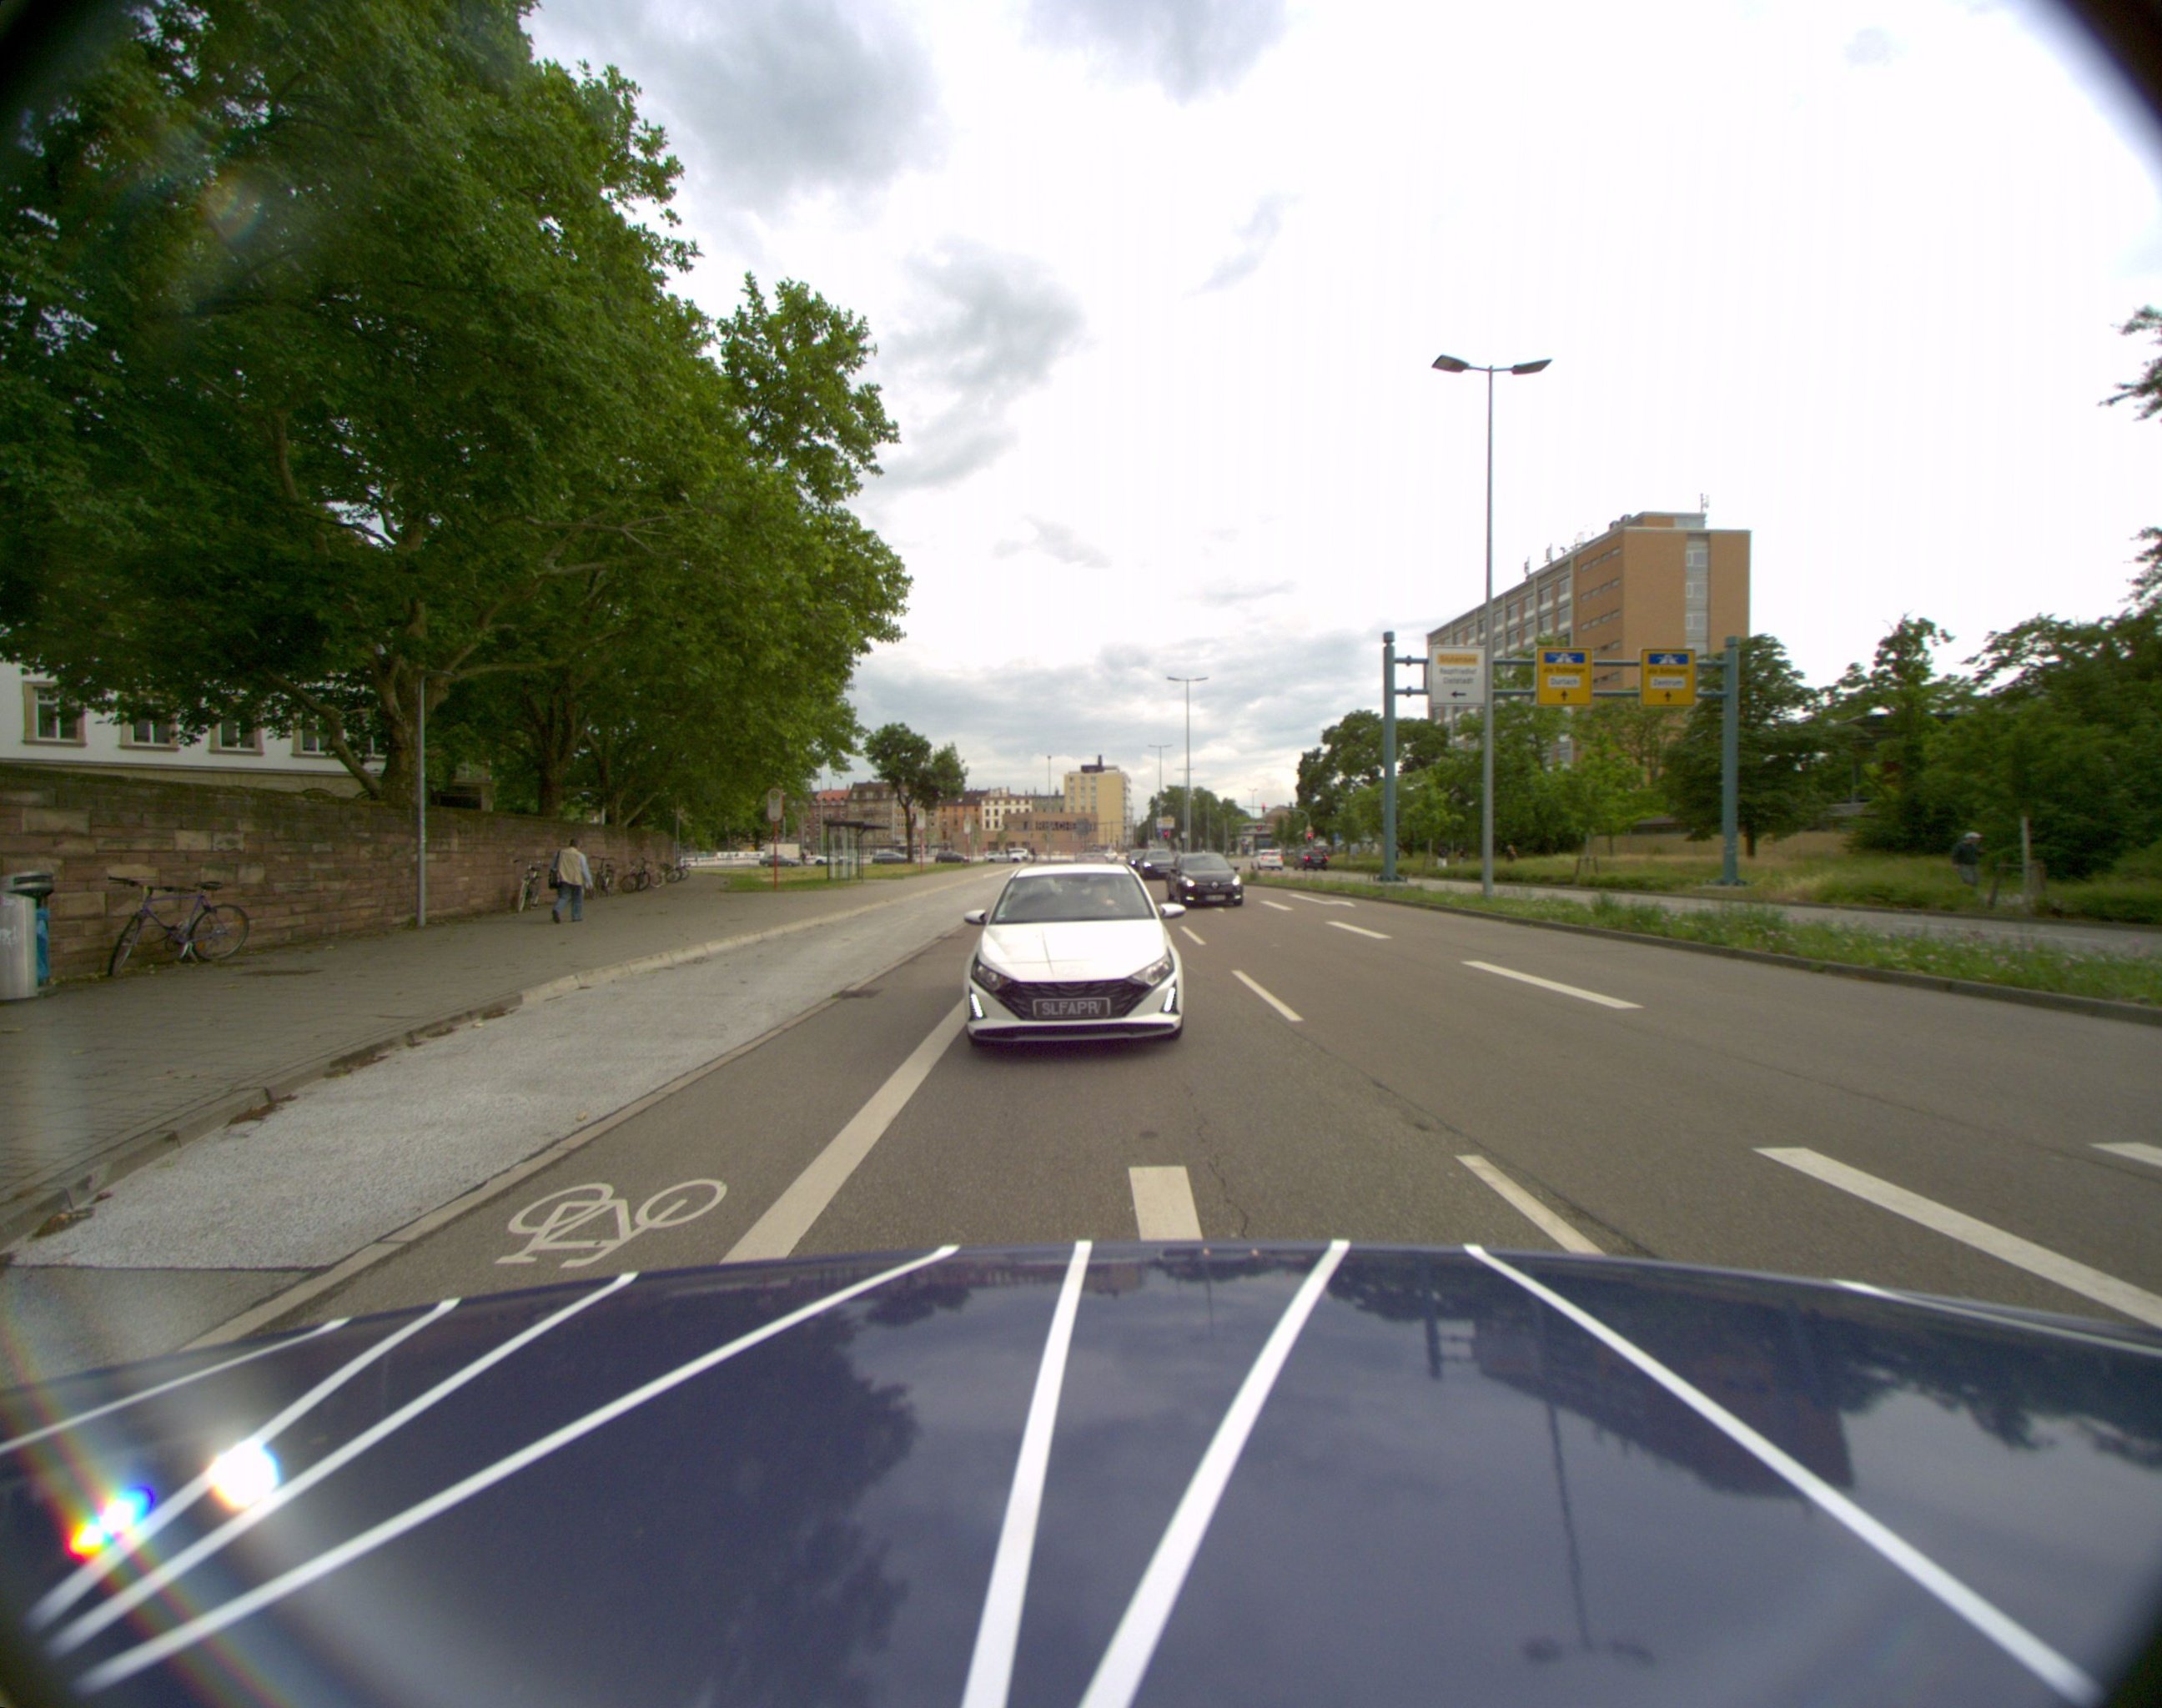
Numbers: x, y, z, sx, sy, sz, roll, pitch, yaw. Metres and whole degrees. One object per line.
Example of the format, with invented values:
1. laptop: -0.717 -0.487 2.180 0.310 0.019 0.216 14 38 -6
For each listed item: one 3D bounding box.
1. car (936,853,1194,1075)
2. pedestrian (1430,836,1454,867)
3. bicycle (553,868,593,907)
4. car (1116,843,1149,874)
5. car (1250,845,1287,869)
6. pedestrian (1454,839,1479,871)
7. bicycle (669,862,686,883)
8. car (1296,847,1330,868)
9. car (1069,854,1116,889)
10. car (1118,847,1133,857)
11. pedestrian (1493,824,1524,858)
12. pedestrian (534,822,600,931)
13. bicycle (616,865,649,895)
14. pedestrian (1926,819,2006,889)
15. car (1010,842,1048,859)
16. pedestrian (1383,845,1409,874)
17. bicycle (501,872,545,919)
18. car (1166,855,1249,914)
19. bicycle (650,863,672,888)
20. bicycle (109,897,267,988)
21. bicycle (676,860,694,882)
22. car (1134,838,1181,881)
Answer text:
1. car: -0.088 0.775 7.359 1.813 1.533 4.000 0 1 1
2. pedestrian: 23.925 -0.181 50.343 0.882 2.002 1.220 -2 1 -7
3. bicycle: -13.657 0.879 20.472 0.482 0.934 1.895 -1 1 -21
4. car: 3.470 0.262 51.522 1.998 2.002 4.000 0 1 1
5. car: 14.834 0.207 60.246 1.893 1.763 3.999 -2 1 0
6. pedestrian: 25.149 0.057 49.574 0.882 2.002 1.220 -2 1 -7
7. bicycle: -18.963 0.860 35.766 0.561 0.934 1.351 -1 1 -22
8. car: 17.905 0.235 58.747 1.854 1.543 4.002 -1 1 7
9. car: 0.513 0.734 34.048 1.998 1.422 4.000 0 1 1
10. car: 7.226 -0.287 123.488 1.999 1.536 3.999 0 1 -1
11. pedestrian: 25.250 -0.755 44.891 1.137 1.908 1.162 -2 1 4
12. pedestrian: -9.740 0.399 14.429 0.784 2.002 0.887 0 2 -17
13. bicycle: -15.186 0.855 25.770 0.655 0.934 1.953 -1 1 -22
14. pedestrian: 21.470 0.003 18.439 0.990 1.616 0.813 -2 1 -2
15. car: -6.547 -0.451 95.047 4.290 2.002 1.996 -3 1 -23
16. pedestrian: 23.169 0.388 55.846 1.223 2.002 1.520 -2 1 0
17. bicycle: -12.427 0.899 16.945 0.365 0.934 1.638 -1 1 -21
18. car: 3.471 0.788 21.465 1.732 1.450 4.000 0 1 1
19. bicycle: -16.966 0.866 30.716 0.569 0.934 1.764 -1 1 -22
20. bicycle: -10.628 1.012 9.118 0.291 0.880 1.609 0 1 -12
21. bicycle: -20.610 0.887 39.573 0.693 1.078 1.650 -1 1 -22
22. car: 3.791 0.236 38.067 1.998 2.002 4.000 0 1 1
